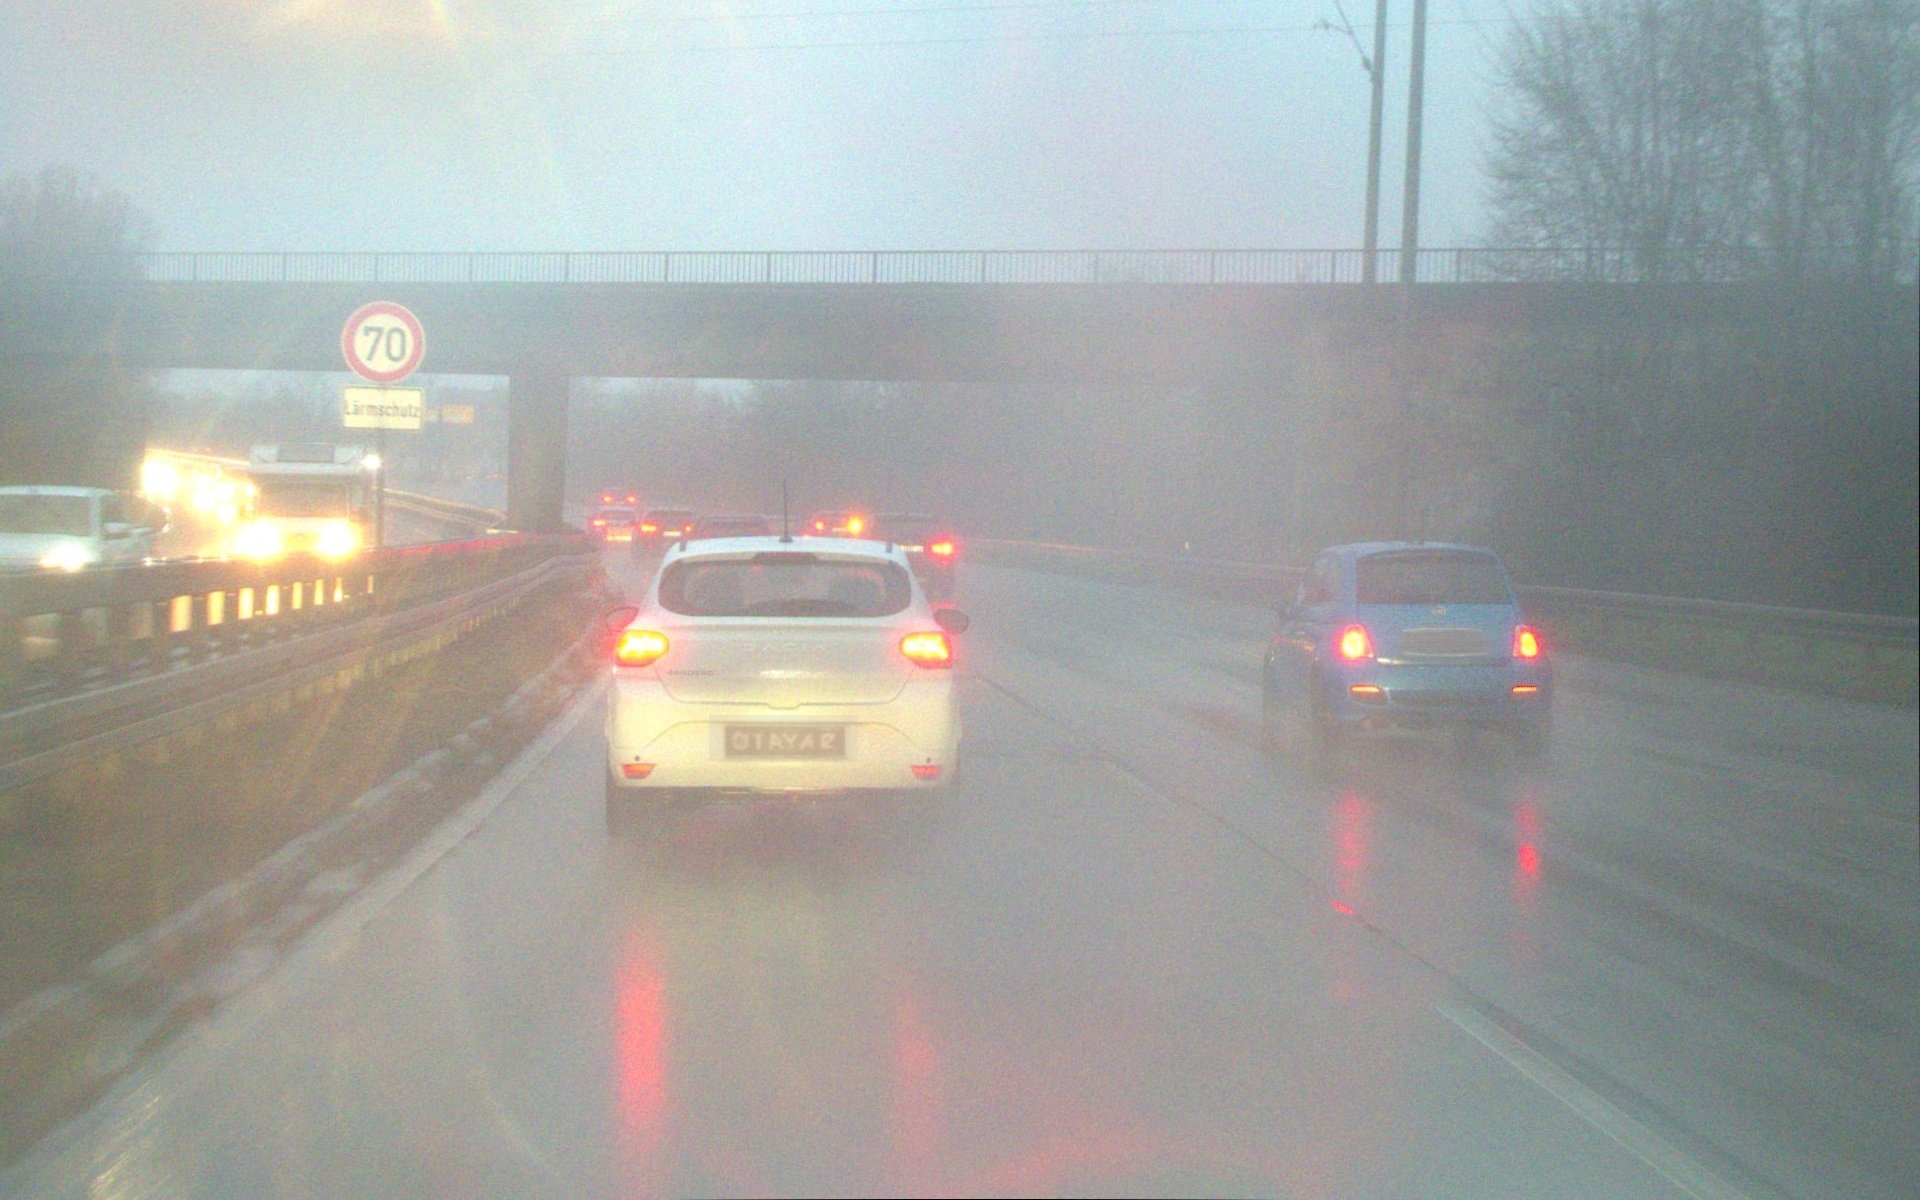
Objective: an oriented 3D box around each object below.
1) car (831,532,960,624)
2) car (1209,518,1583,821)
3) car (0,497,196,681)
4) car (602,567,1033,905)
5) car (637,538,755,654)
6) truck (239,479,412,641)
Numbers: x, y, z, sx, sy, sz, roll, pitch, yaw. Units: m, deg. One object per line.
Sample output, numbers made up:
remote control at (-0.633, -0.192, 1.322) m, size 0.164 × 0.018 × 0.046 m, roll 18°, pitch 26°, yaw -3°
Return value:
car at (-1.289, -0.411, 67.194) m, size 1.932 × 1.541 × 3.774 m, roll -4°, pitch -1°, yaw -9°
car at (3.123, 0.470, 25.386) m, size 1.932 × 2.012 × 3.774 m, roll 2°, pitch 0°, yaw -5°
car at (-9.751, -0.135, 37.112) m, size 1.987 × 1.824 × 5.119 m, roll 2°, pitch 0°, yaw -2°
car at (-0.807, 0.648, 18.544) m, size 2.024 × 1.569 × 4.000 m, roll 2°, pitch 0°, yaw -4°
car at (-4.911, -0.086, 63.498) m, size 1.993 × 2.007 × 4.001 m, roll 2°, pitch 0°, yaw -6°
truck at (-13.329, -0.825, 72.757) m, size 2.714 × 3.150 × 7.730 m, roll 2°, pitch 0°, yaw -4°
